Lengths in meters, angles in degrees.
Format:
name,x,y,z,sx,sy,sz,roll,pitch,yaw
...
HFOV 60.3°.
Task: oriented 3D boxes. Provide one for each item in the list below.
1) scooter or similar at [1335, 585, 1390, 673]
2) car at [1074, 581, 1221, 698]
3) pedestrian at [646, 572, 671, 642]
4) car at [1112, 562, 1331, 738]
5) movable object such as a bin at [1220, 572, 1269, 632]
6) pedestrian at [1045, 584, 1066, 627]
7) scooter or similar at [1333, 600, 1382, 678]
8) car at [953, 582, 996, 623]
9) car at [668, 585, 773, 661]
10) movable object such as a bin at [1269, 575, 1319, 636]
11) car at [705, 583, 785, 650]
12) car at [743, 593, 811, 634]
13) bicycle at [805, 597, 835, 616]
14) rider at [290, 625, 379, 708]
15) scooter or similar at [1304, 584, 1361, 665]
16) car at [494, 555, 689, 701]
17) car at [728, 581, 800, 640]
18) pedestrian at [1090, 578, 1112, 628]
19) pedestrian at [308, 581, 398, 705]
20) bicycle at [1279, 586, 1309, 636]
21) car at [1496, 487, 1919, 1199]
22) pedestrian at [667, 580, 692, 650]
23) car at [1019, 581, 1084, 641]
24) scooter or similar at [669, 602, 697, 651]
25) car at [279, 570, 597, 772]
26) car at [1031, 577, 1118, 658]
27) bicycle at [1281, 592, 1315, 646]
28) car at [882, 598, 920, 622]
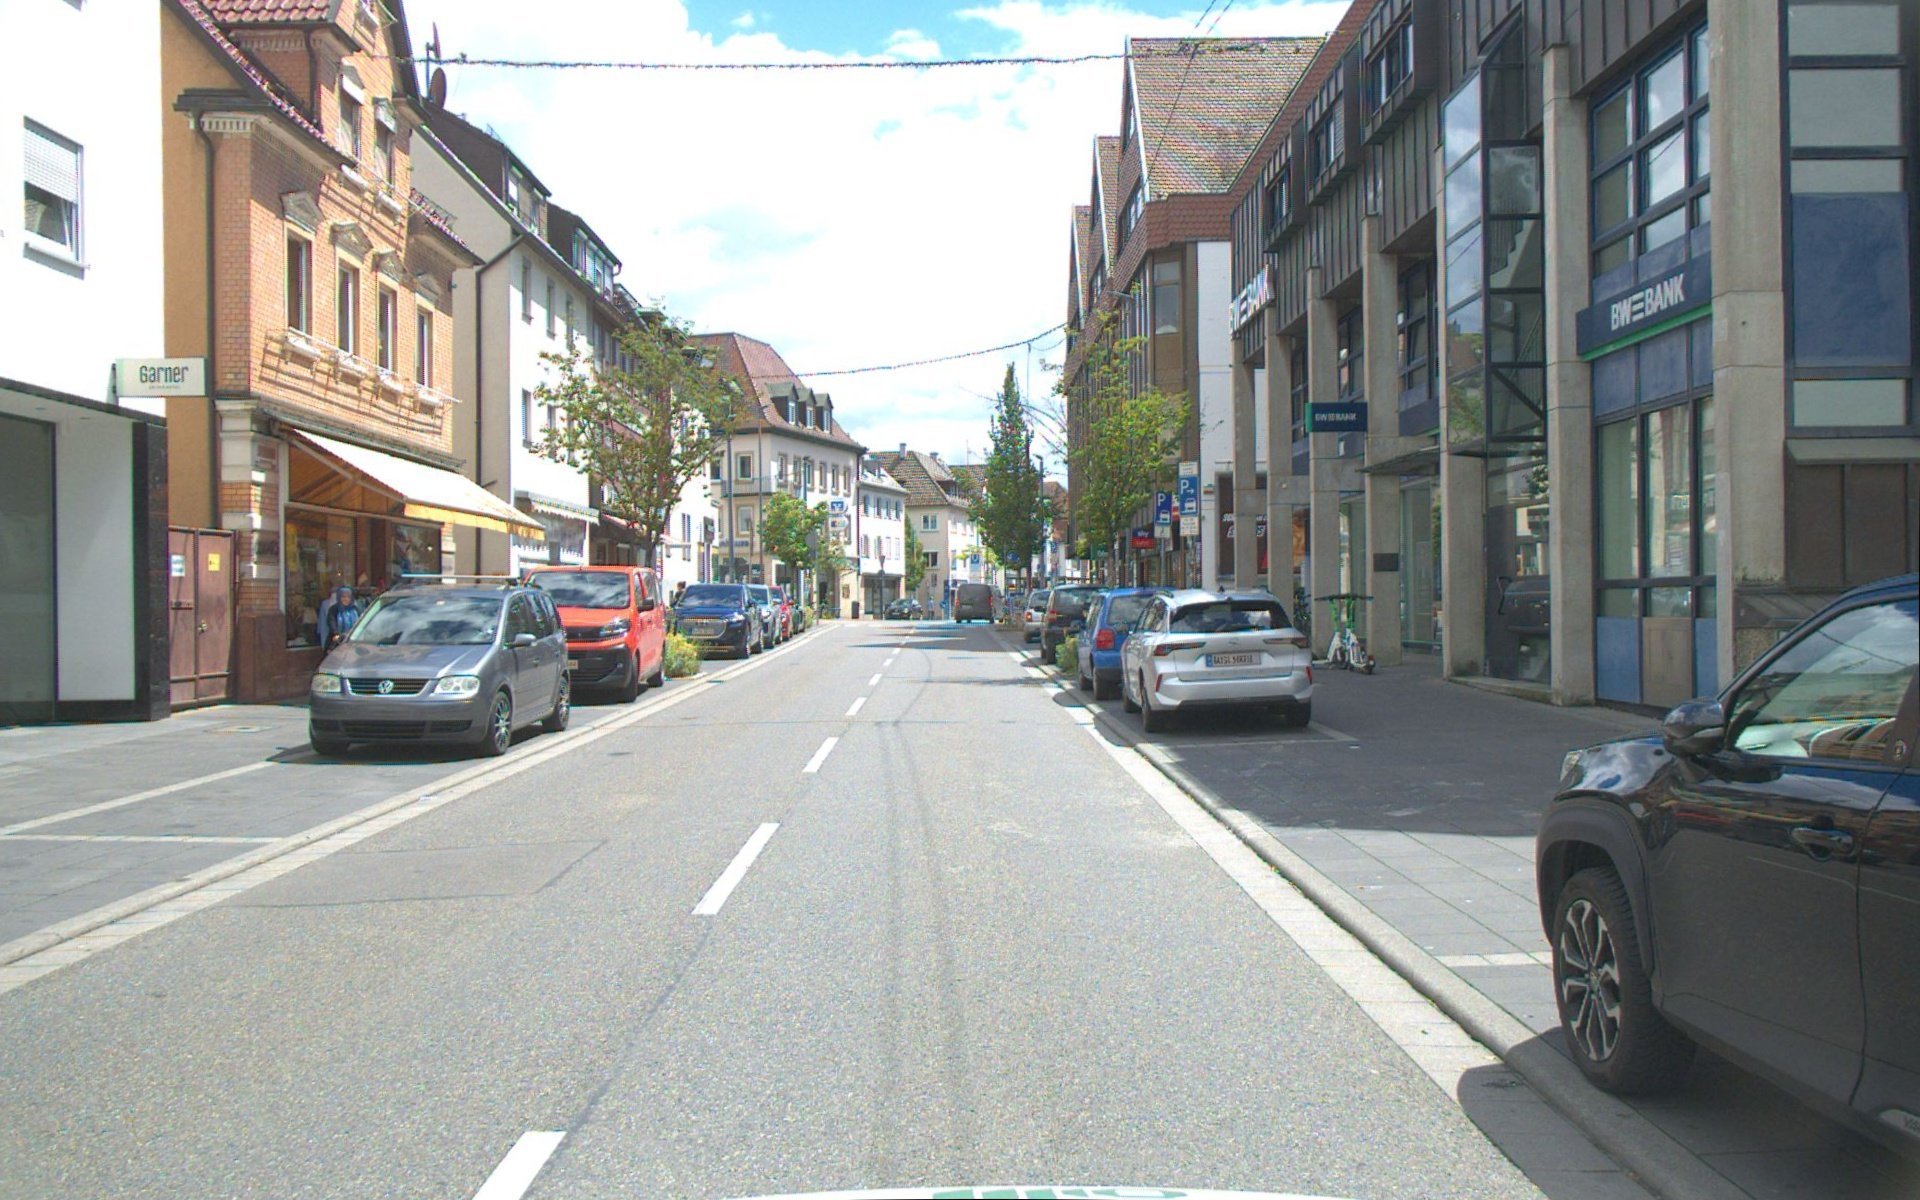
name,x,y,z,sx,sy,sz,roll,pitch,yaw
scooter or similar,6.016,0.421,24.789,0.413,1.267,1.561,1,0,-1
car,2.628,0.538,23.986,1.686,1.520,4.109,1,0,1
pedestrian,-7.295,0.169,40.002,0.491,1.677,0.574,1,-1,-3
car,2.771,0.478,18.443,1.686,1.604,4.429,-4,0,1
movable object such as a bin,7.449,0.056,43.298,1.118,1.554,1.032,1,-1,2
pedestrian,3.708,0.229,64.269,0.768,1.644,0.800,1,-1,-1
scooter or similar,6.684,0.641,27.830,0.413,1.267,1.561,1,0,-1
car,0.692,0.148,79.995,1.999,1.881,4.999,1,0,0
car,-5.354,0.467,37.424,1.762,1.626,4.388,0,0,0
movable object such as a bin,8.722,0.143,43.207,1.118,1.554,1.032,1,-1,2
car,-5.548,0.391,43.171,1.764,1.632,4.348,-1,0,-4
car,-6.041,0.434,55.024,1.782,1.245,4.523,2,0,-1
bicycle,-7.861,0.358,93.035,1.597,1.049,0.568,1,-1,15
rider,-8.052,0.841,21.302,0.787,1.031,0.707,1,-1,22
scooter or similar,5.987,0.395,26.640,0.398,1.267,1.321,1,-1,-11
car,-5.327,0.392,24.561,1.779,1.922,4.840,1,0,0
car,-5.723,0.270,48.602,1.763,1.632,4.216,-1,0,-2
pedestrian,5.266,0.129,61.782,0.722,1.846,0.711,1,-1,-1
pedestrian,-8.040,0.563,21.931,0.788,1.602,0.779,1,-1,18
bicycle,7.816,0.257,38.741,0.416,1.139,1.502,1,0,1
car,2.789,0.586,3.793,1.686,1.604,4.107,1,0,-2
pedestrian,-6.774,0.372,39.984,0.503,1.677,0.471,1,-1,-2
car,2.533,0.291,46.581,1.576,1.521,3.795,-4,0,1
scooter or similar,-6.809,0.649,40.722,0.551,1.171,0.985,1,-1,-3
car,-5.170,0.649,17.065,1.779,1.786,4.464,1,0,1
car,2.346,0.326,34.650,1.576,1.559,3.795,-2,0,1
bicycle,7.388,0.413,36.192,0.416,1.139,1.741,1,0,1
car,-3.752,0.641,105.635,1.590,1.512,3.808,1,0,11
